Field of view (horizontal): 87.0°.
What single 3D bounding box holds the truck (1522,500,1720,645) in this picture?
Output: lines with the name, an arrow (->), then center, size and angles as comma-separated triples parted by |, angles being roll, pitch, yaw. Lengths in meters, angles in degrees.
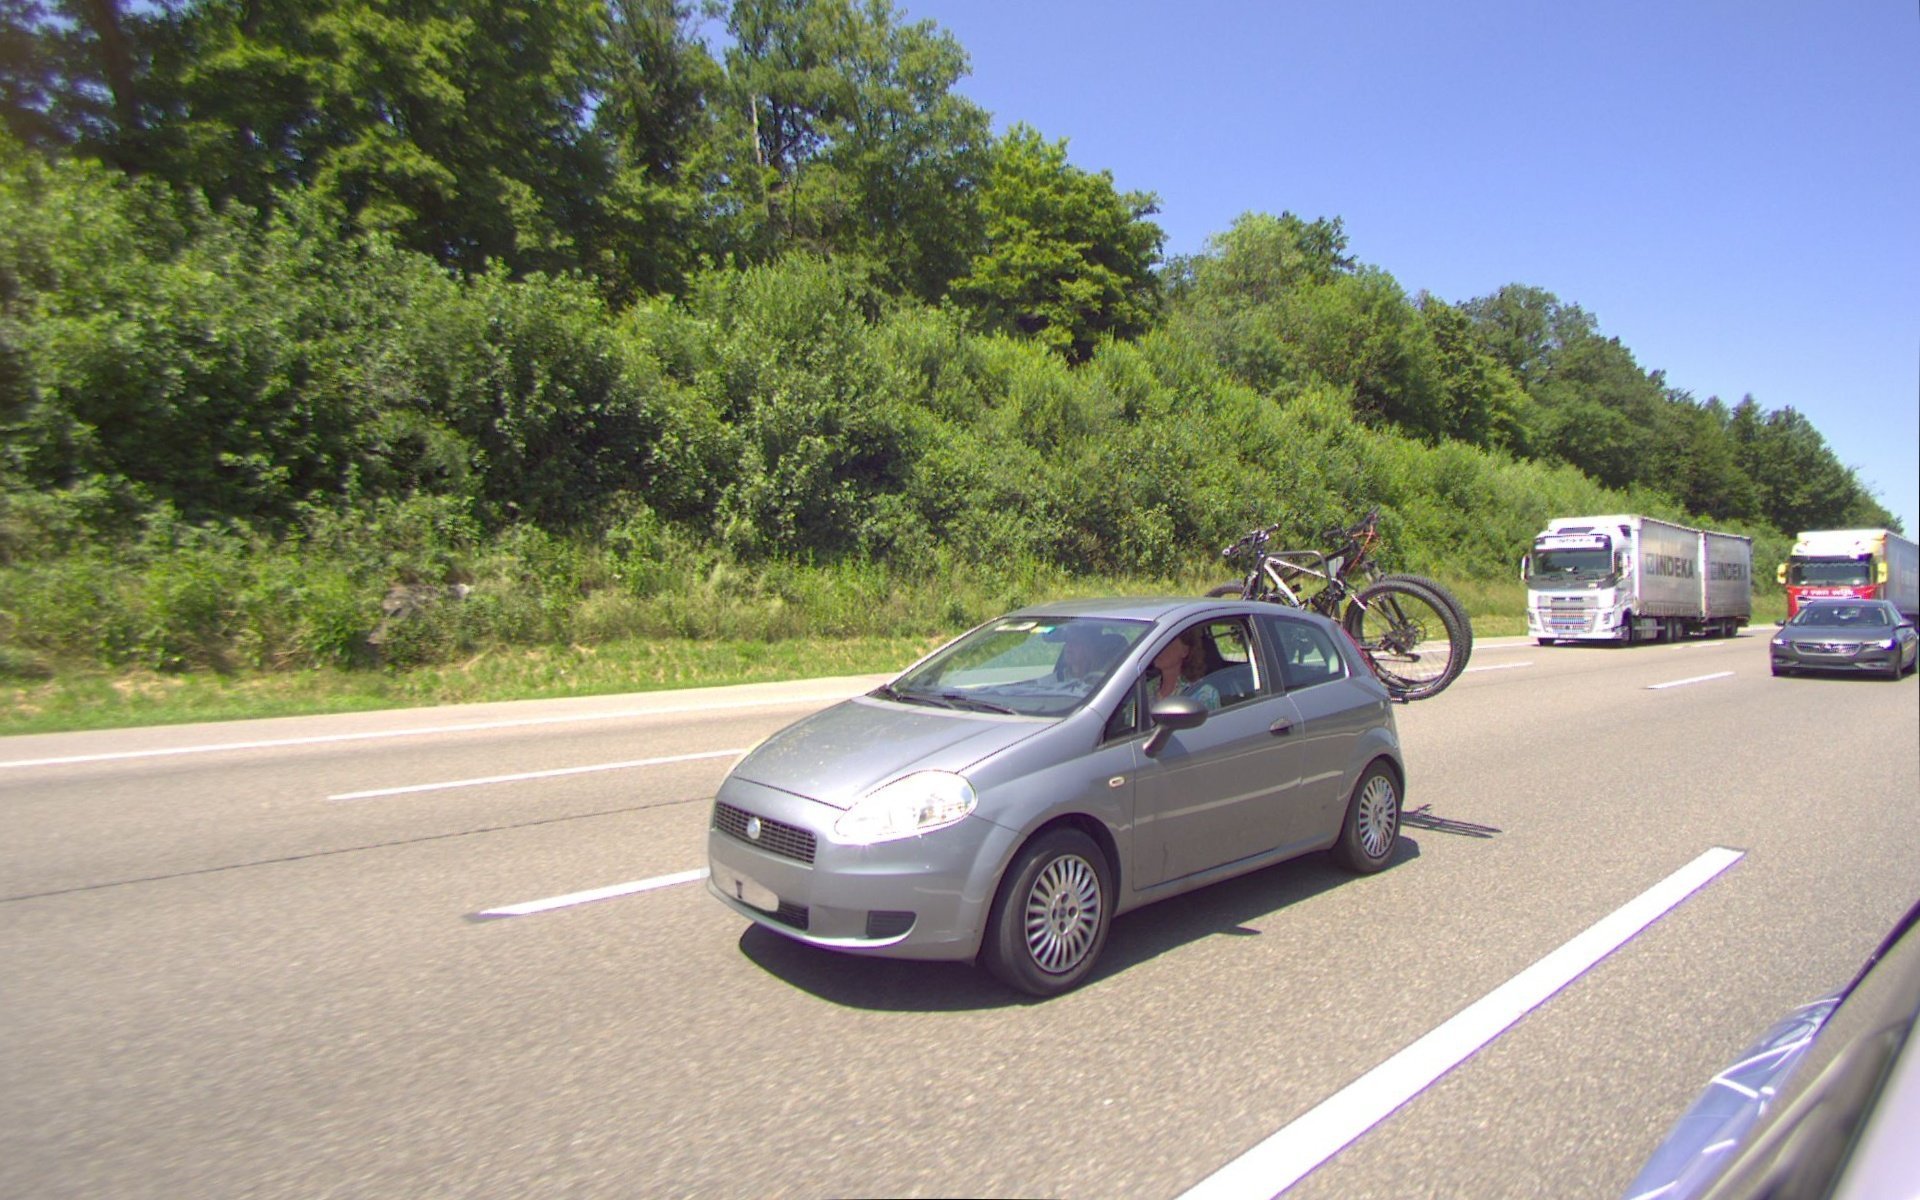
truck -> 22.493, -0.807, 34.054 | 10.777, 4.214, 2.726 | 0, -1, -41

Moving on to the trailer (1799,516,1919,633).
trailer -> 38.417, -0.913, 42.224 | 14.588, 4.195, 2.924 | 1, 1, -41

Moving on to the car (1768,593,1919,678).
car -> 17.771, 0.610, 19.896 | 5.132, 1.471, 1.970 | 0, -1, -40

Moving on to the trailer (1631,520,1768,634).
trailer -> 29.457, -0.818, 40.149 | 8.236, 4.122, 2.583 | 0, -1, -41

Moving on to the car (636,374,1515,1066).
car -> 0.954, 0.369, 5.343 | 4.700, 2.080, 1.964 | 0, -1, -41

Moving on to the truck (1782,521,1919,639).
truck -> 33.669, -0.684, 38.147 | 7.408, 4.032, 3.015 | 1, 0, -41
